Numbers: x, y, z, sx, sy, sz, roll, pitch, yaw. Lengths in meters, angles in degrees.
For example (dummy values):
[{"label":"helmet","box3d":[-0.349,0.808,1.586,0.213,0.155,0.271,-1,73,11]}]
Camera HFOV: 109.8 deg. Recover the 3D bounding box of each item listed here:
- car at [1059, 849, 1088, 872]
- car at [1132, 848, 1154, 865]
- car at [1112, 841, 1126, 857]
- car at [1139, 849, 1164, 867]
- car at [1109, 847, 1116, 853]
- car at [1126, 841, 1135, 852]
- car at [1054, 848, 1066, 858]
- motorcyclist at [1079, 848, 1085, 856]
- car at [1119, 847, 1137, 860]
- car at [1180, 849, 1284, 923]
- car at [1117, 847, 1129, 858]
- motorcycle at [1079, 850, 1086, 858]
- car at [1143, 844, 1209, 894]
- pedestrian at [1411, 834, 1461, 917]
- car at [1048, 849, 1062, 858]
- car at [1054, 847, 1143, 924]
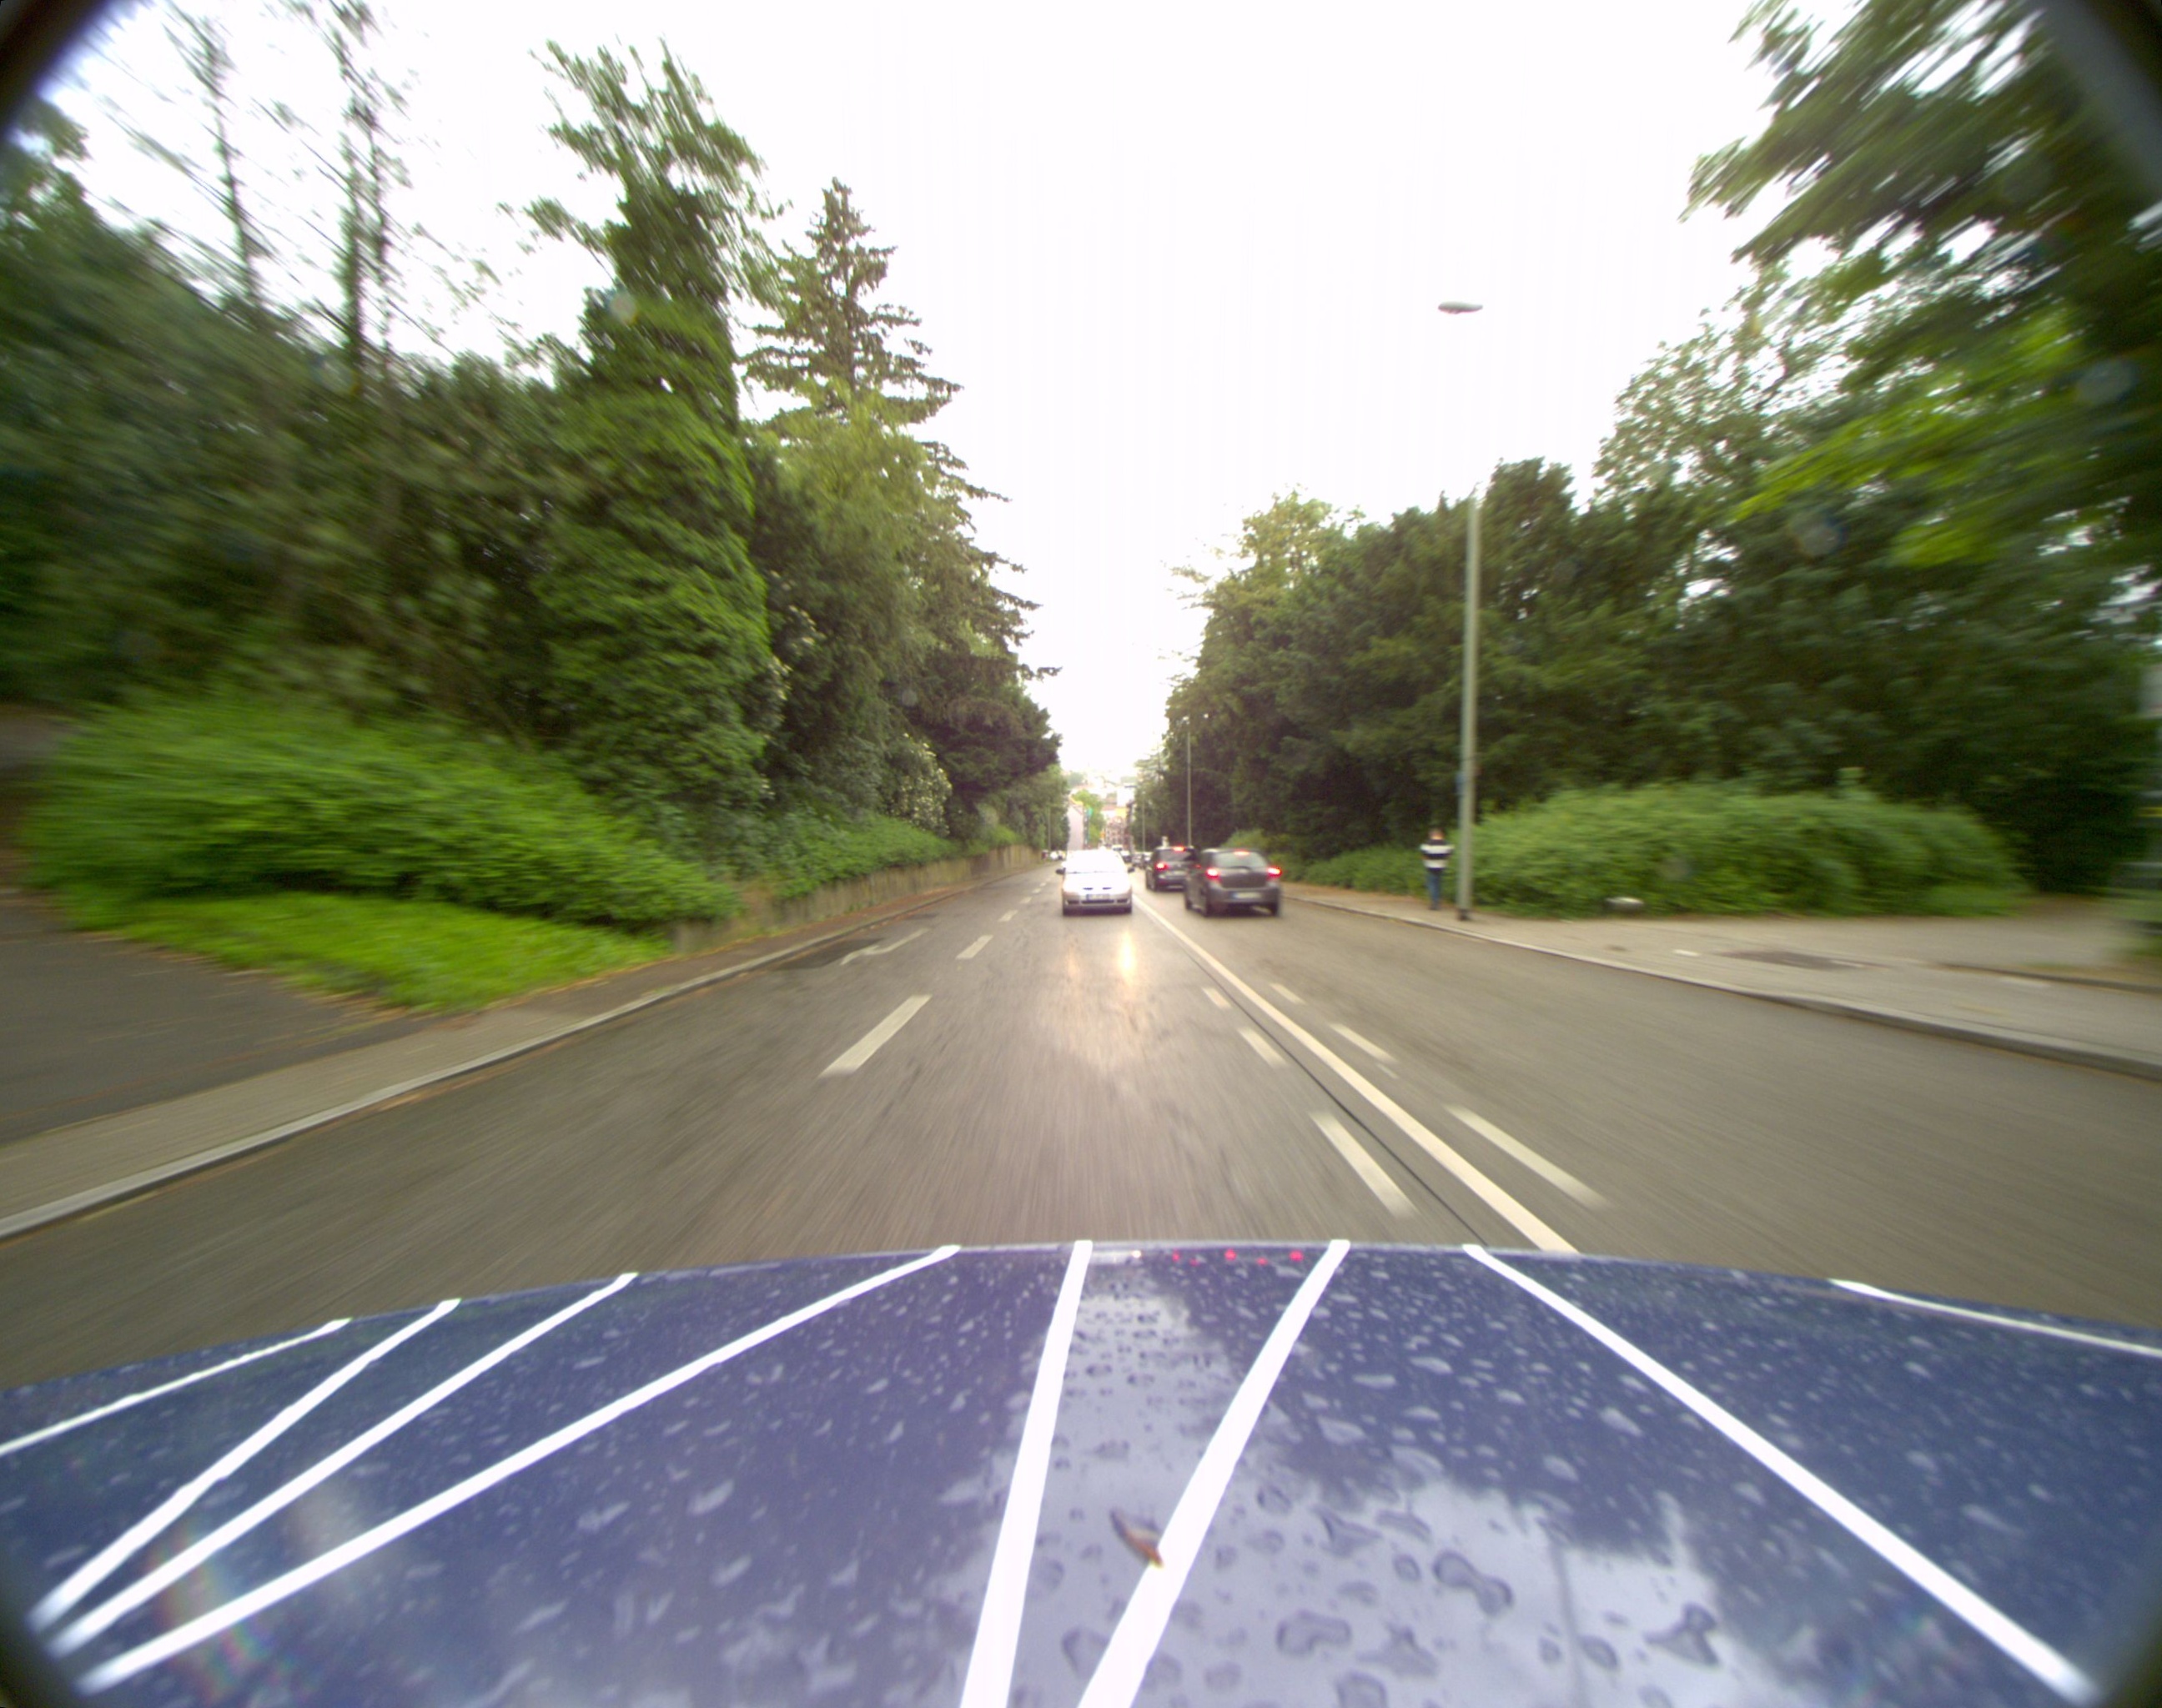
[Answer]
[{"label":"car","box3d":[-0.506,0.439,57.222,1.998,1.603,3.967,-1,1,2]},{"label":"car","box3d":[6.360,0.237,78.645,1.891,1.602,4.239,1,1,0]},{"label":"car","box3d":[6.101,-0.838,123.430,2.122,2.536,5.444,2,1,3]},{"label":"car","box3d":[6.185,0.357,66.973,1.630,1.490,3.927,-3,1,-2]},{"label":"car","box3d":[7.793,-1.035,188.089,1.765,1.482,4.001,-1,1,3]},{"label":"car","box3d":[12.270,-1.810,188.266,2.122,2.536,5.444,2,1,3]},{"label":"car","box3d":[-3.561,-0.254,131.499,1.769,1.614,4.679,0,1,2]},{"label":"motorcyclist","box3d":[0.199,-0.222,109.970,0.778,1.120,0.549,-2,1,5]},{"label":"car","box3d":[6.104,-0.077,99.283,1.864,1.485,4.755,3,0,0]},{"label":"car","box3d":[3.370,0.655,17.545,1.679,1.487,3.459,-1,1,-1]},{"label":"car","box3d":[6.142,-0.213,111.958,1.648,1.595,4.186,2,1,3]},{"label":"motorcycle","box3d":[0.219,0.017,110.062,0.778,1.120,2.300,-2,1,5]},{"label":"car","box3d":[3.510,0.502,28.656,1.835,1.701,3.999,-2,1,-1]},{"label":"pedestrian","box3d":[7.251,0.428,15.540,0.707,1.635,0.714,-1,1,6]},{"label":"car","box3d":[-4.152,-0.099,120.890,1.742,1.469,4.740,1,1,4]},{"label":"car","box3d":[0.538,0.673,18.516,1.825,1.603,4.190,-2,1,5]}]
